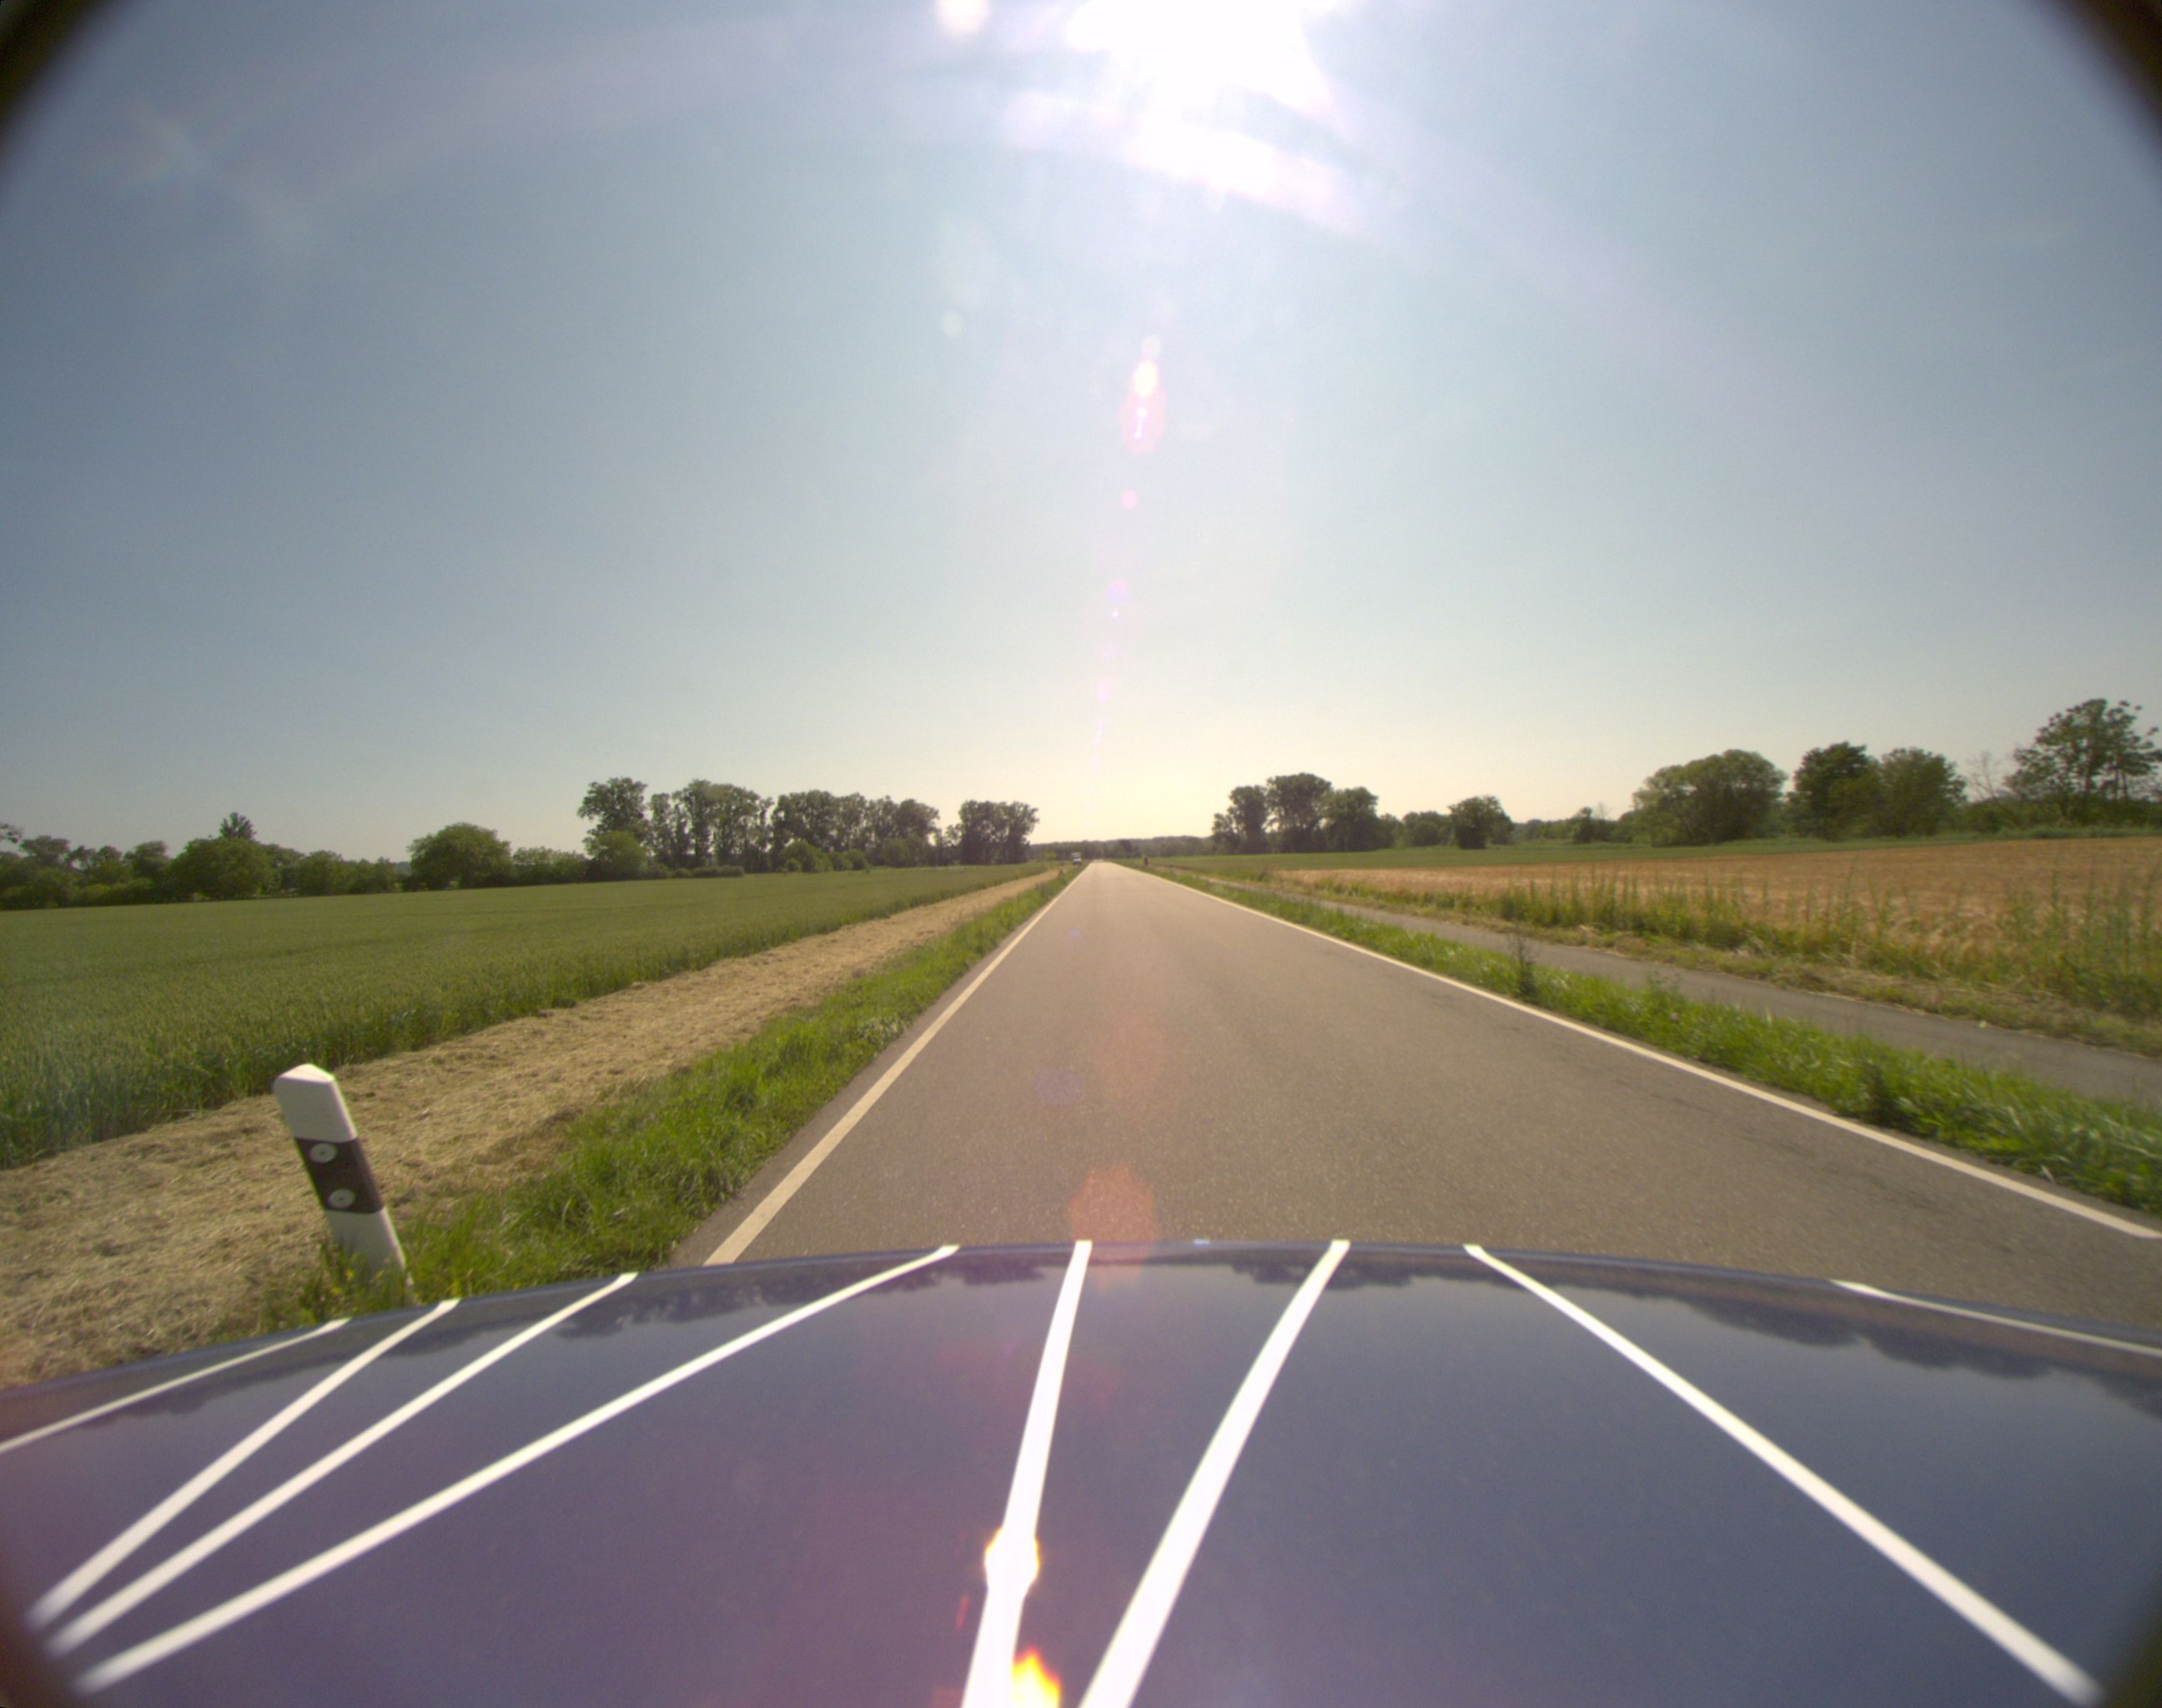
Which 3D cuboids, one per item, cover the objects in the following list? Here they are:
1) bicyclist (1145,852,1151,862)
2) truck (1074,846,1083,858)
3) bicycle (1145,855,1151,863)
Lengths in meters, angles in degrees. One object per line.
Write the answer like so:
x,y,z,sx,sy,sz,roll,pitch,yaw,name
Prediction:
10.153,0.460,115.559,0.743,1.488,1.003,-2,1,2,bicyclist
-0.622,-0.449,183.423,1.998,2.821,5.218,-2,0,2,truck
10.175,0.779,115.560,0.743,1.165,2.083,-2,0,2,bicycle
